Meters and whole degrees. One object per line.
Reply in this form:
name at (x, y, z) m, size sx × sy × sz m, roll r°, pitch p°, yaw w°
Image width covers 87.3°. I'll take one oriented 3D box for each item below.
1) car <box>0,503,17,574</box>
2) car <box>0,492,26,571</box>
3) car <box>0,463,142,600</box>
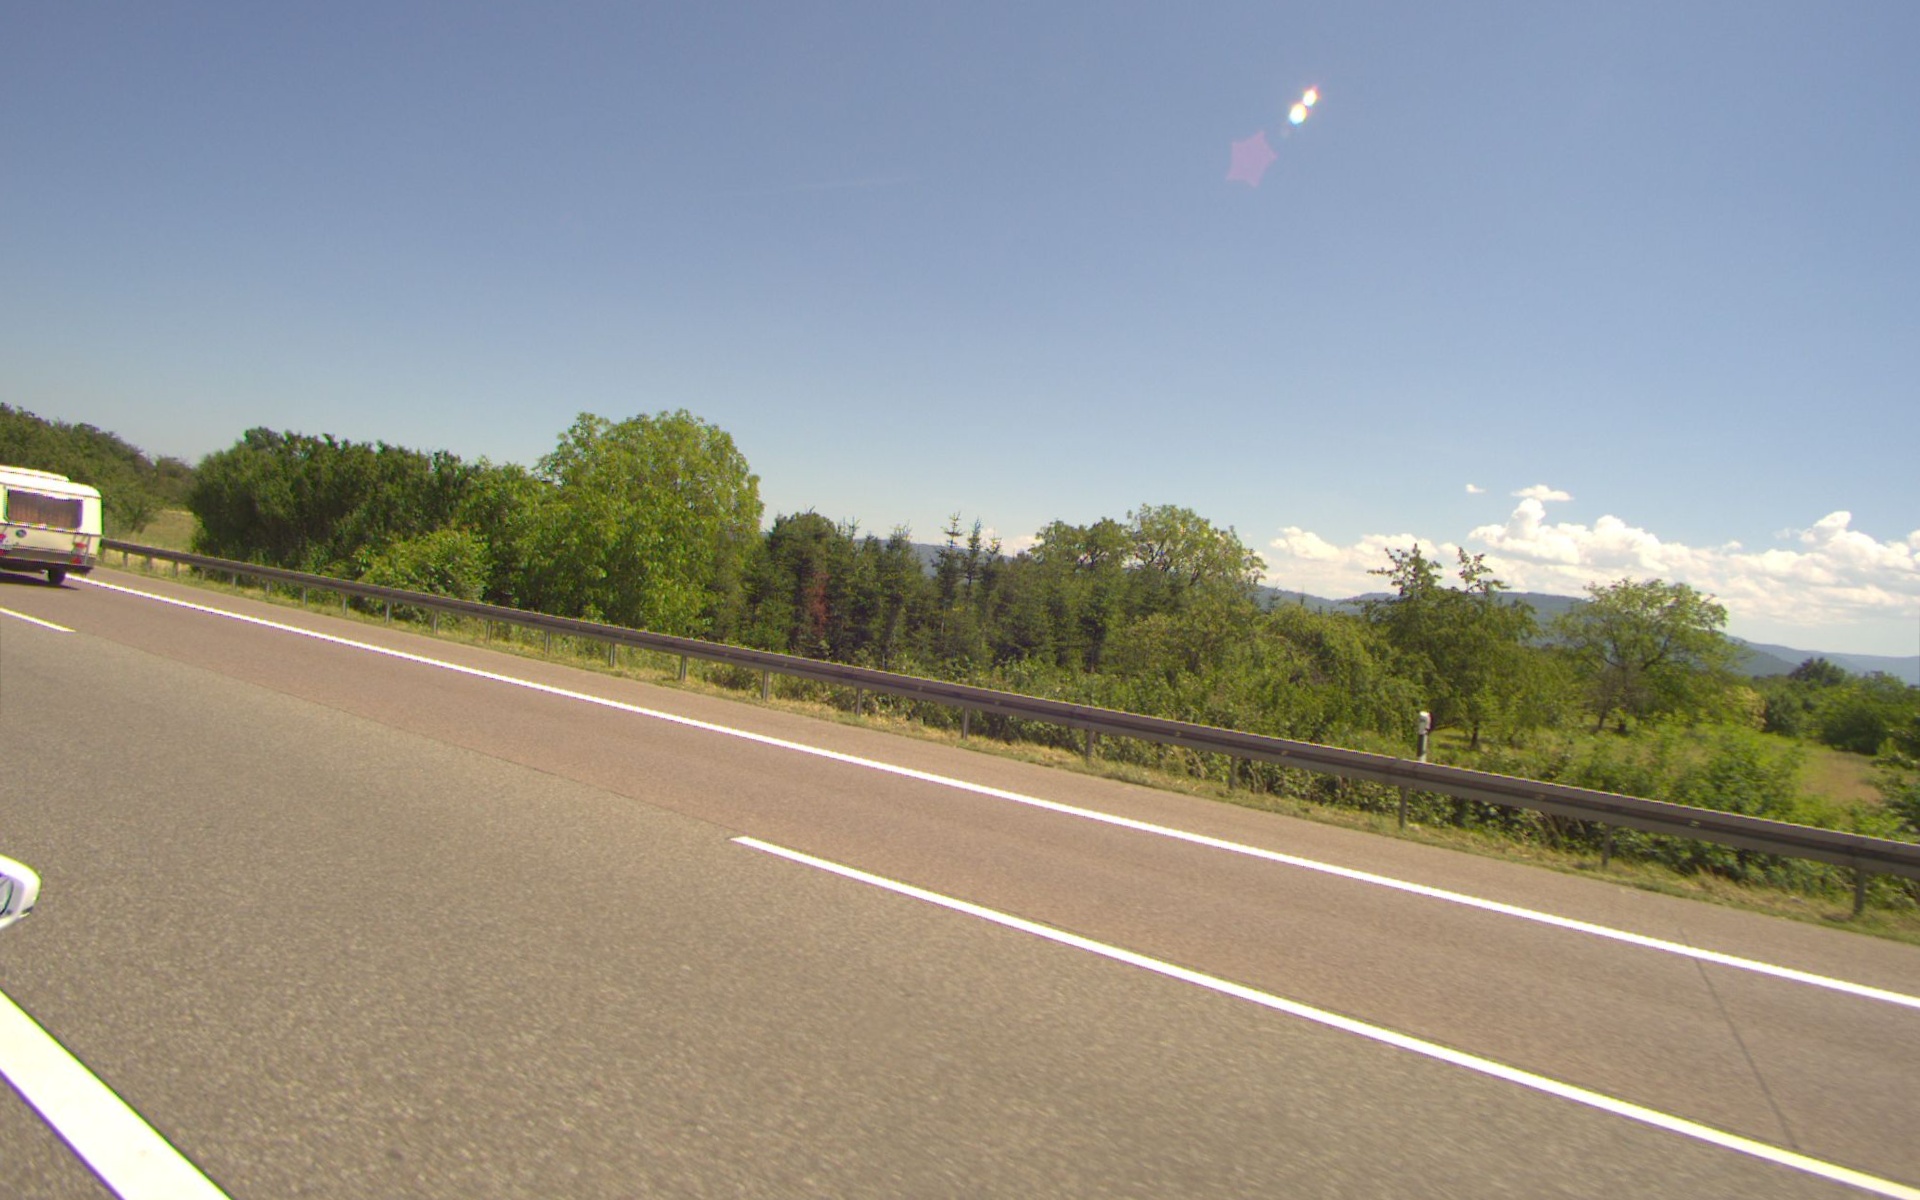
car at (-24.048, -1.743, 23.292) m, size 5.291 × 1.532 × 1.891 m, roll 7°, pitch -2°, yaw 33°
car at (-24.035, -1.900, 23.323) m, size 5.418 × 1.678 × 2.047 m, roll 8°, pitch 0°, yaw 32°
car at (-19.356, -1.566, 20.509) m, size 5.233 × 2.351 × 2.445 m, roll 8°, pitch 1°, yaw 32°
